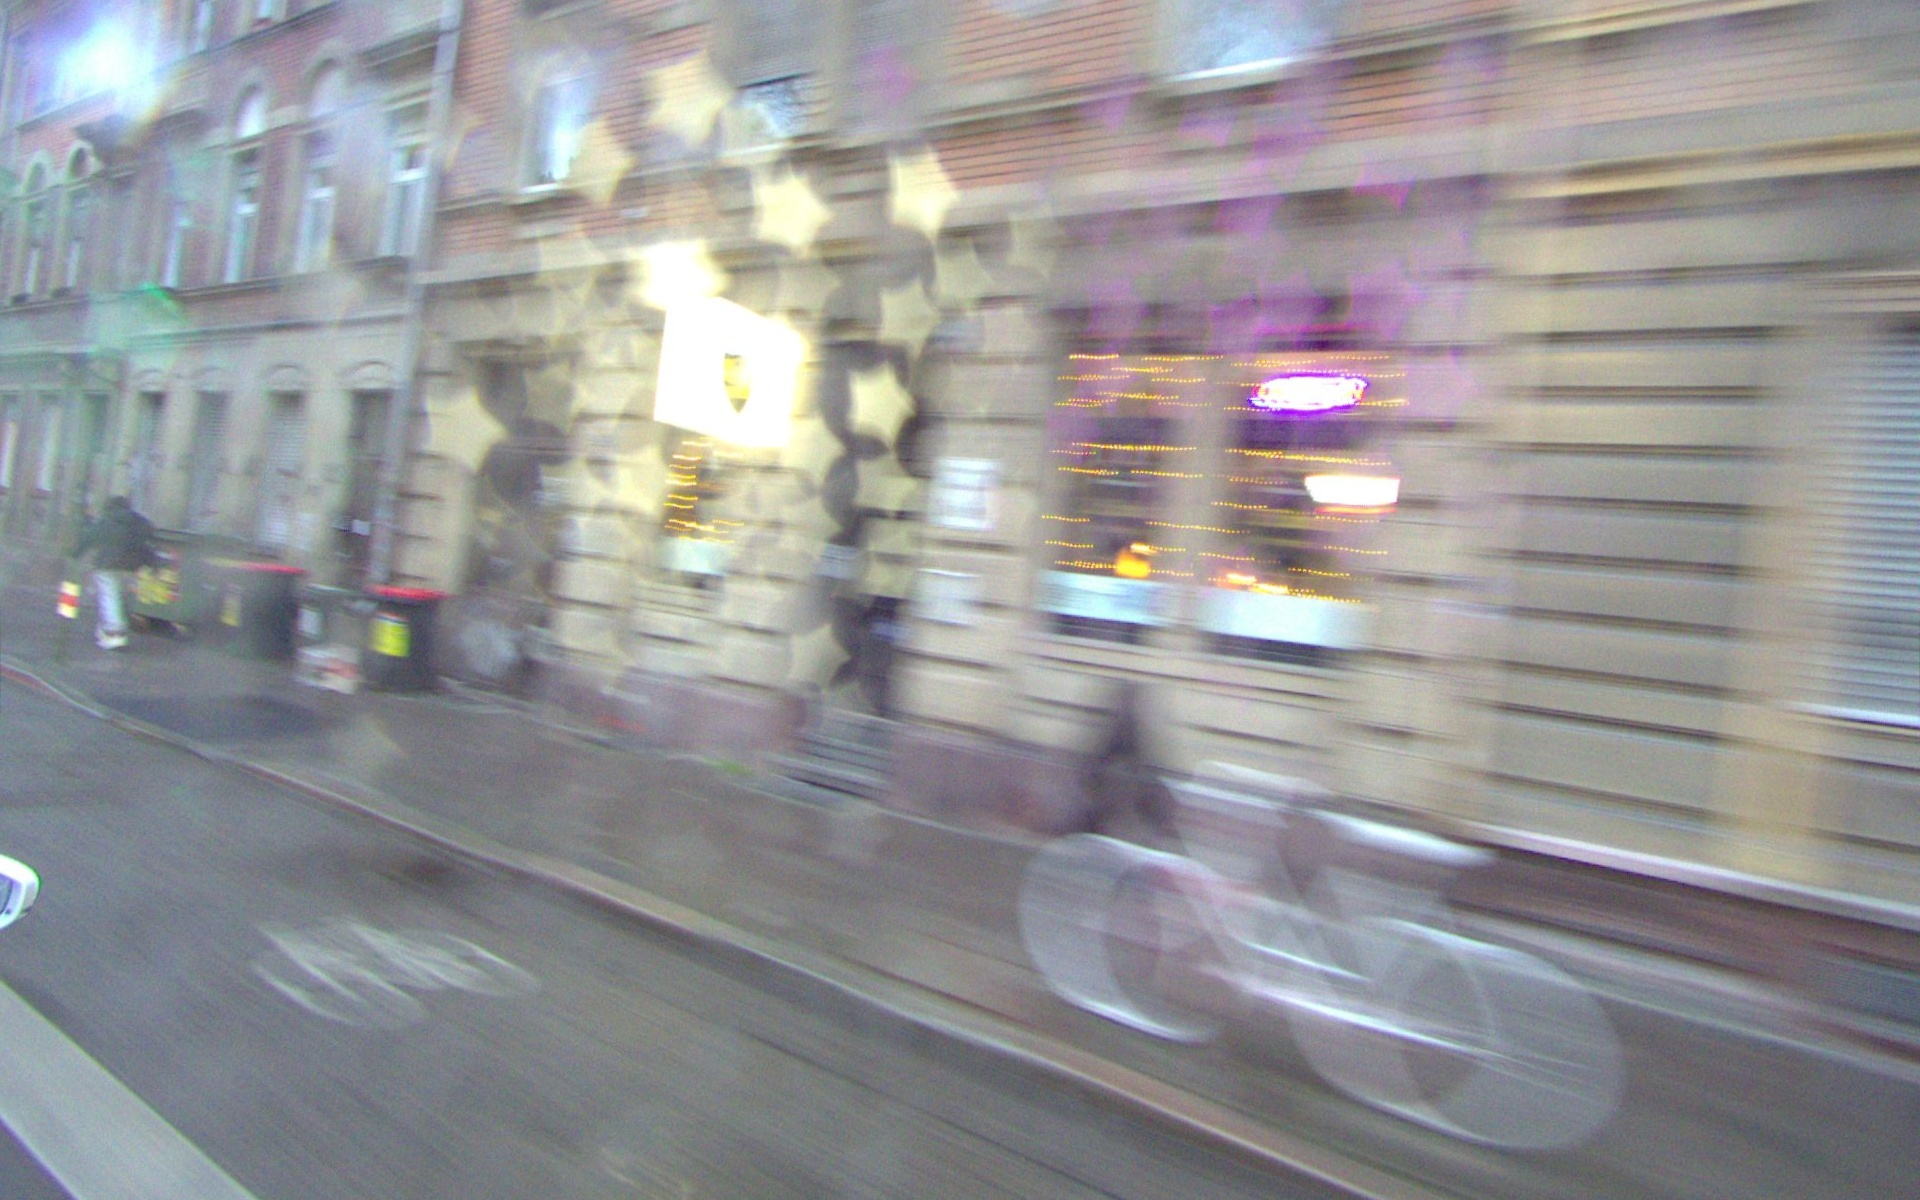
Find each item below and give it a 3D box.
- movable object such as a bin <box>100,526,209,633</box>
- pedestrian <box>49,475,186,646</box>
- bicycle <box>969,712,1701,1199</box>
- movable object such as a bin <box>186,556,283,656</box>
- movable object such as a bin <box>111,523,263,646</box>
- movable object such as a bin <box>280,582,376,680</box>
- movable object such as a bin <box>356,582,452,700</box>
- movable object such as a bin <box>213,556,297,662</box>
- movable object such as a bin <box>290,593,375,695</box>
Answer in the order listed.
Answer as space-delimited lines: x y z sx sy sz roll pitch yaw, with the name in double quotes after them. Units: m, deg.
-10.369 -0.256 12.962 0.805 1.225 0.766 7 0 31 "movable object such as a bin"
-9.210 -0.428 11.000 0.939 1.721 0.834 6 -1 40 "pedestrian"
1.189 1.140 3.561 2.152 1.169 0.685 6 -1 32 "bicycle"
-8.510 0.073 11.803 0.762 1.051 0.592 7 0 -44 "movable object such as a bin"
-9.423 -0.185 12.279 1.239 1.304 0.890 7 0 24 "movable object such as a bin"
-6.590 0.328 10.503 0.483 0.940 0.612 7 0 30 "movable object such as a bin"
-5.570 0.406 10.108 0.482 1.094 0.613 7 0 3 "movable object such as a bin"
-8.009 0.101 11.431 0.609 1.095 0.592 7 0 -44 "movable object such as a bin"
-6.245 0.435 10.034 0.417 0.940 0.489 7 0 5 "movable object such as a bin"
